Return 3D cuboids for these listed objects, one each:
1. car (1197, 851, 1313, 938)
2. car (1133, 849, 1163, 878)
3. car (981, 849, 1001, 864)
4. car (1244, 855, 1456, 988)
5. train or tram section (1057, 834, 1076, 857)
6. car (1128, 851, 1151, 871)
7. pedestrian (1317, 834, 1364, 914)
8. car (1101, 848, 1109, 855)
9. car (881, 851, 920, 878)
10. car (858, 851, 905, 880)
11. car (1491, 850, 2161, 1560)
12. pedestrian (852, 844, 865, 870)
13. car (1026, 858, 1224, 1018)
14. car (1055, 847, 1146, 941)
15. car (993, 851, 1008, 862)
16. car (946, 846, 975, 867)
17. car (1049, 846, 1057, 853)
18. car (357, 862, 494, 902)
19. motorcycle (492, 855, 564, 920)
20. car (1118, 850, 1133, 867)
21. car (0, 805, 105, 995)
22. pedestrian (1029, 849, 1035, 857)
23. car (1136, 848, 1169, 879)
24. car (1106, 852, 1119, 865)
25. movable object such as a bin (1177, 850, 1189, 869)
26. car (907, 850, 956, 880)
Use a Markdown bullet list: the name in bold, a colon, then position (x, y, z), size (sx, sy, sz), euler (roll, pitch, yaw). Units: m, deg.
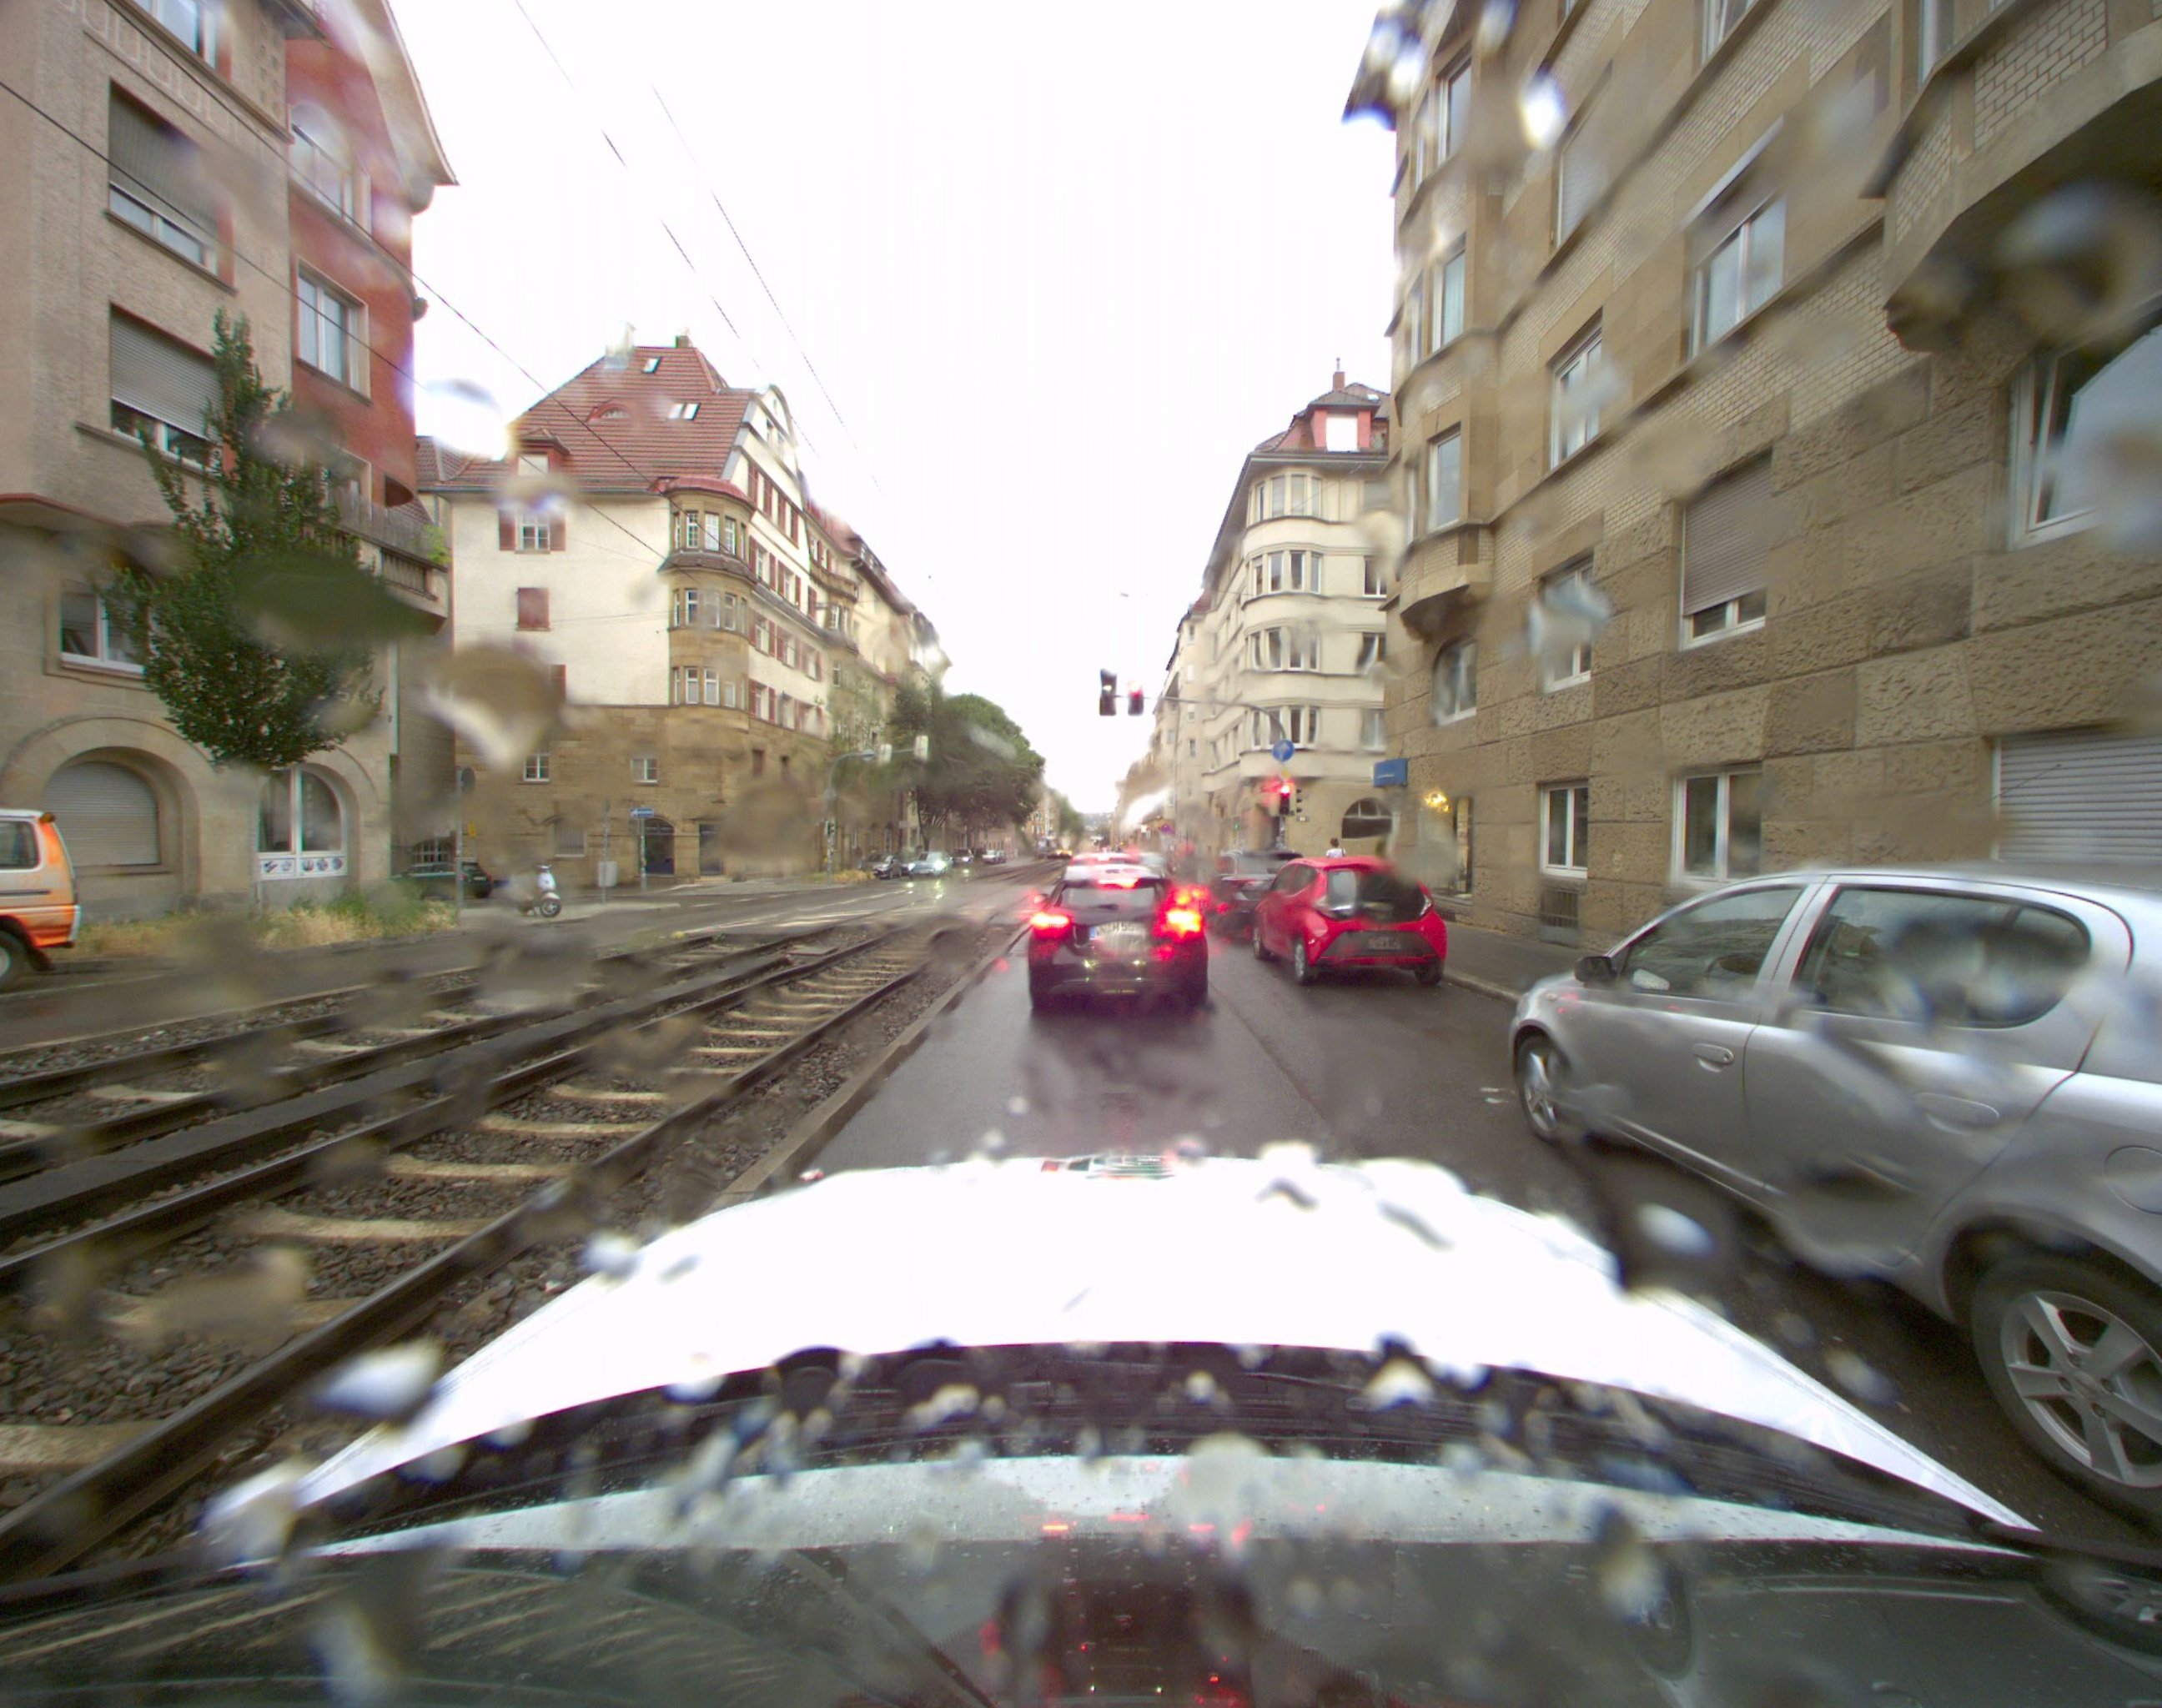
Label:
- **car**: position (3.242, 0.689, 15.805), size (1.539, 1.486, 3.831), euler (0, 0, 2)
- **car**: position (3.837, 0.526, 47.171), size (1.539, 1.590, 3.549), euler (0, 0, 2)
- **car**: position (-9.877, 0.311, 89.591), size (1.583, 1.581, 3.920), euler (0, -1, 2)
- **car**: position (3.276, 0.735, 10.561), size (1.637, 1.448, 3.298), euler (0, 0, -1)
- **train or tram section**: position (-2.571, -1.409, 143.823), size (2.772, 3.861, 10.433), euler (0, -1, 2)
- **car**: position (4.408, 0.528, 61.579), size (1.539, 1.486, 3.549), euler (0, 0, 2)
- **pedestrian**: position (5.866, 0.439, 18.456), size (0.739, 1.748, 1.111), euler (0, -1, 2)
- **car**: position (6.107, -0.612, 208.162), size (1.986, 1.876, 4.001), euler (0, -1, 2)
- **car**: position (-11.292, 0.651, 51.146), size (1.713, 1.611, 3.914), euler (0, -1, -3)
- **car**: position (-11.260, 0.645, 46.111), size (1.747, 1.552, 4.033), euler (0, -1, -2)
- **car**: position (3.146, 0.742, 3.095), size (1.608, 1.467, 3.314), euler (-2, 0, 3)
- **pedestrian**: position (-14.041, 0.190, 51.398), size (0.630, 1.672, 0.701), euler (0, -1, -7)
- **car**: position (0.466, 0.783, 9.559), size (1.822, 1.458, 4.105), euler (0, 0, 2)
- **car**: position (0.391, 0.701, 15.954), size (1.559, 1.609, 3.815), euler (0, -1, 2)
- **car**: position (-9.808, 0.299, 99.007), size (1.443, 1.331, 3.271), euler (0, -1, 0)
- **car**: position (-10.605, 0.219, 72.133), size (1.868, 1.737, 3.920), euler (0, -1, 2)
- **car**: position (-5.167, -0.892, 151.886), size (1.372, 1.249, 3.297), euler (0, -1, 0)
- **car**: position (-24.387, 1.019, 30.401), size (3.633, 1.404, 1.699), euler (0, -1, -3)
- **motorcycle**: position (-12.069, 0.716, 17.760), size (1.577, 1.365, 0.628), euler (-1, -1, 28)
- **car**: position (4.017, 0.403, 73.669), size (1.289, 1.442, 2.930), euler (0, 0, 2)
- **car**: position (-12.123, 0.474, 7.203), size (1.725, 1.975, 4.341), euler (0, -1, 0)
- **pedestrian**: position (-10.812, -0.219, 180.119), size (1.049, 1.957, 1.043), euler (1, 0, 3)
- **car**: position (3.696, 0.482, 42.697), size (1.539, 1.590, 3.549), euler (0, 0, 2)
- **car**: position (3.824, 0.521, 99.018), size (1.538, 1.636, 3.688), euler (0, 0, 2)
- **movable object such as a bin**: position (7.467, 0.421, 59.552), size (0.873, 1.389, 0.984), euler (-1, -1, 5)
- **car**: position (-8.275, 0.585, 45.425), size (1.891, 1.588, 3.974), euler (0, -1, 2)
